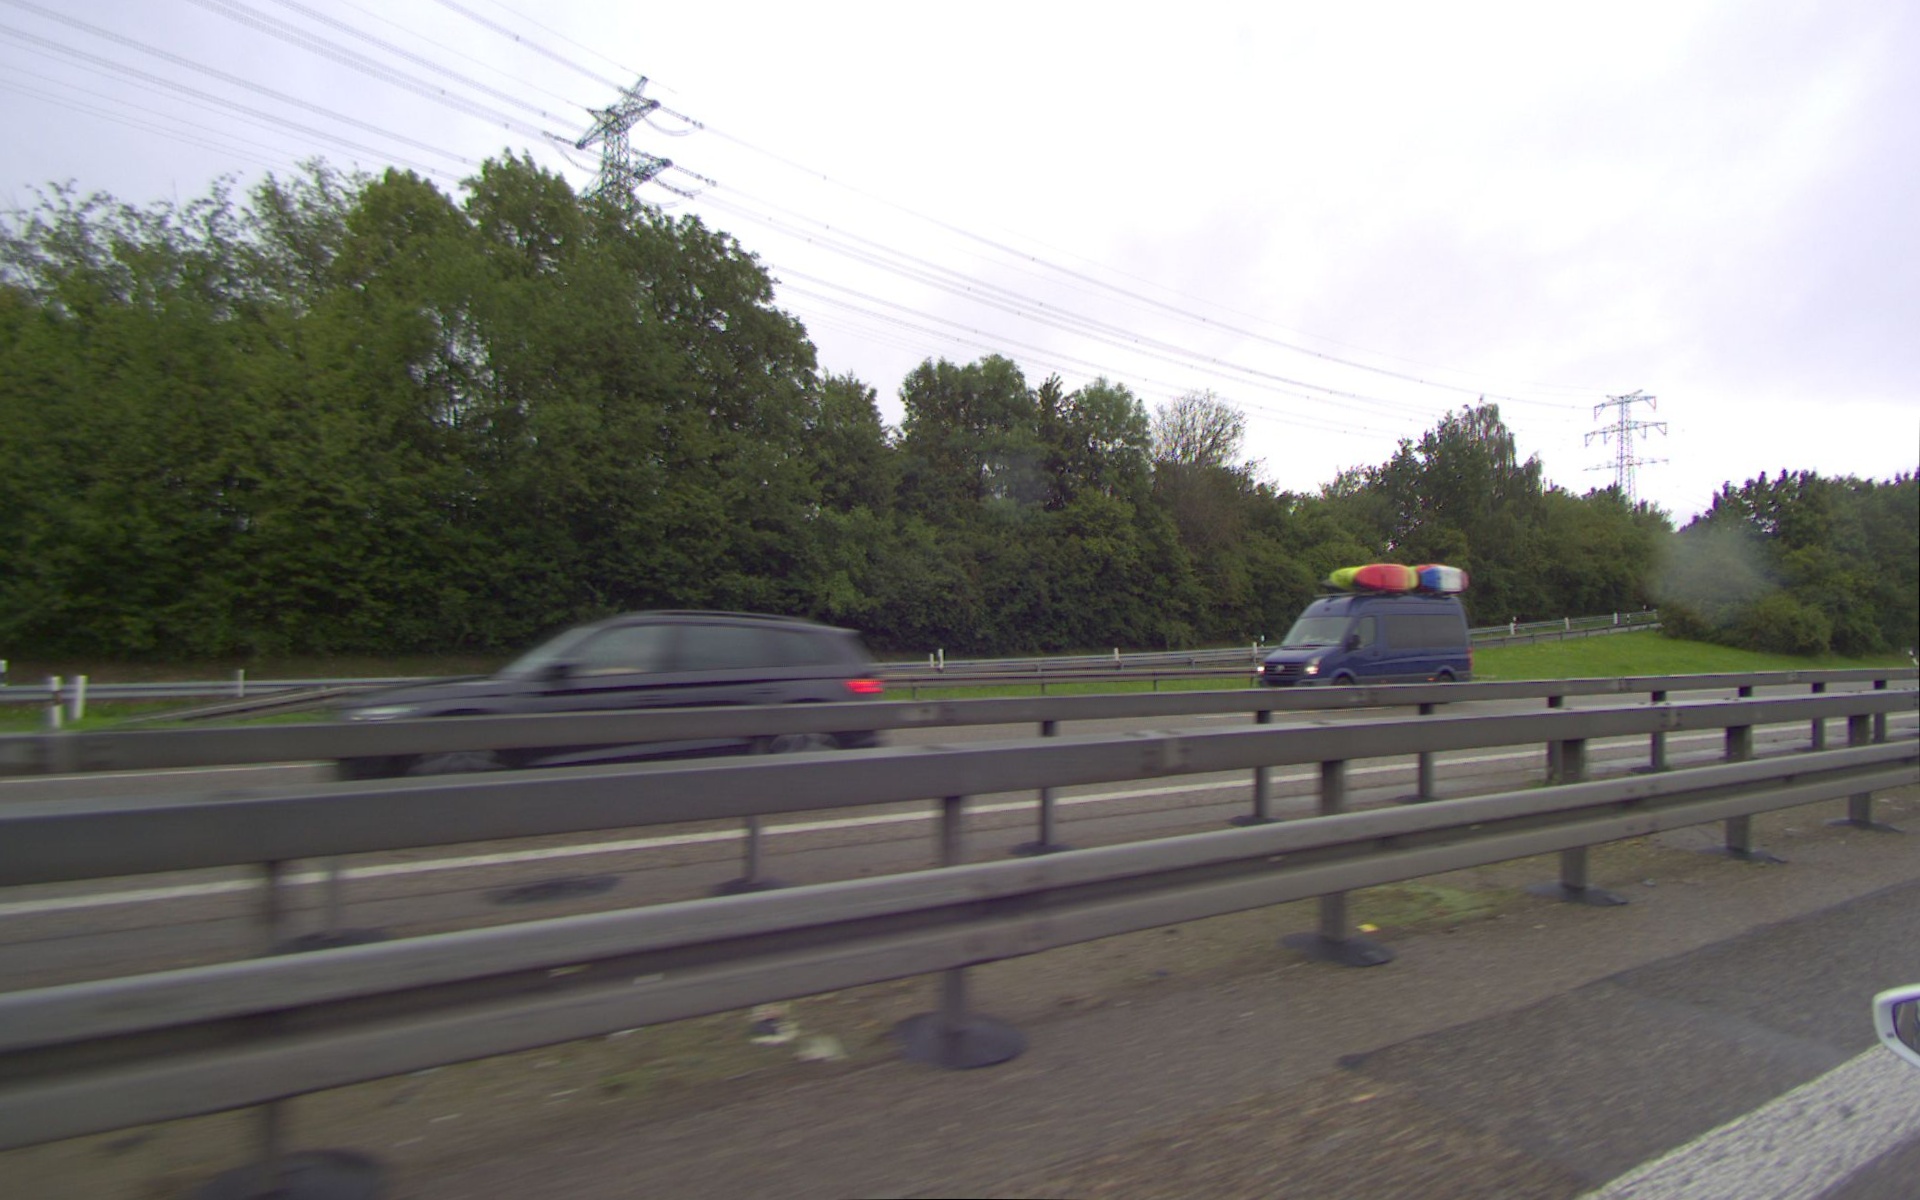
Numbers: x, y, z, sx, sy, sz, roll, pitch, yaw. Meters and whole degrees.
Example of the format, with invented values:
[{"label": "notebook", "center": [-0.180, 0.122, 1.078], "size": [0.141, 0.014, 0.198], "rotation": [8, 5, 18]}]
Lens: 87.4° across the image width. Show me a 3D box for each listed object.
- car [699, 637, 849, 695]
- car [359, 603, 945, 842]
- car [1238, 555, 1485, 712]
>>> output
[{"label": "car", "center": [-5.469, 1.892, 29.723], "size": [3.965, 1.563, 1.953], "rotation": [2, -2, -38]}, {"label": "car", "center": [-2.654, 0.944, 9.112], "size": [4.734, 1.677, 1.915], "rotation": [1, -3, -31]}, {"label": "car", "center": [9.723, 0.822, 24.139], "size": [6.103, 3.371, 2.244], "rotation": [1, -3, -31]}]
